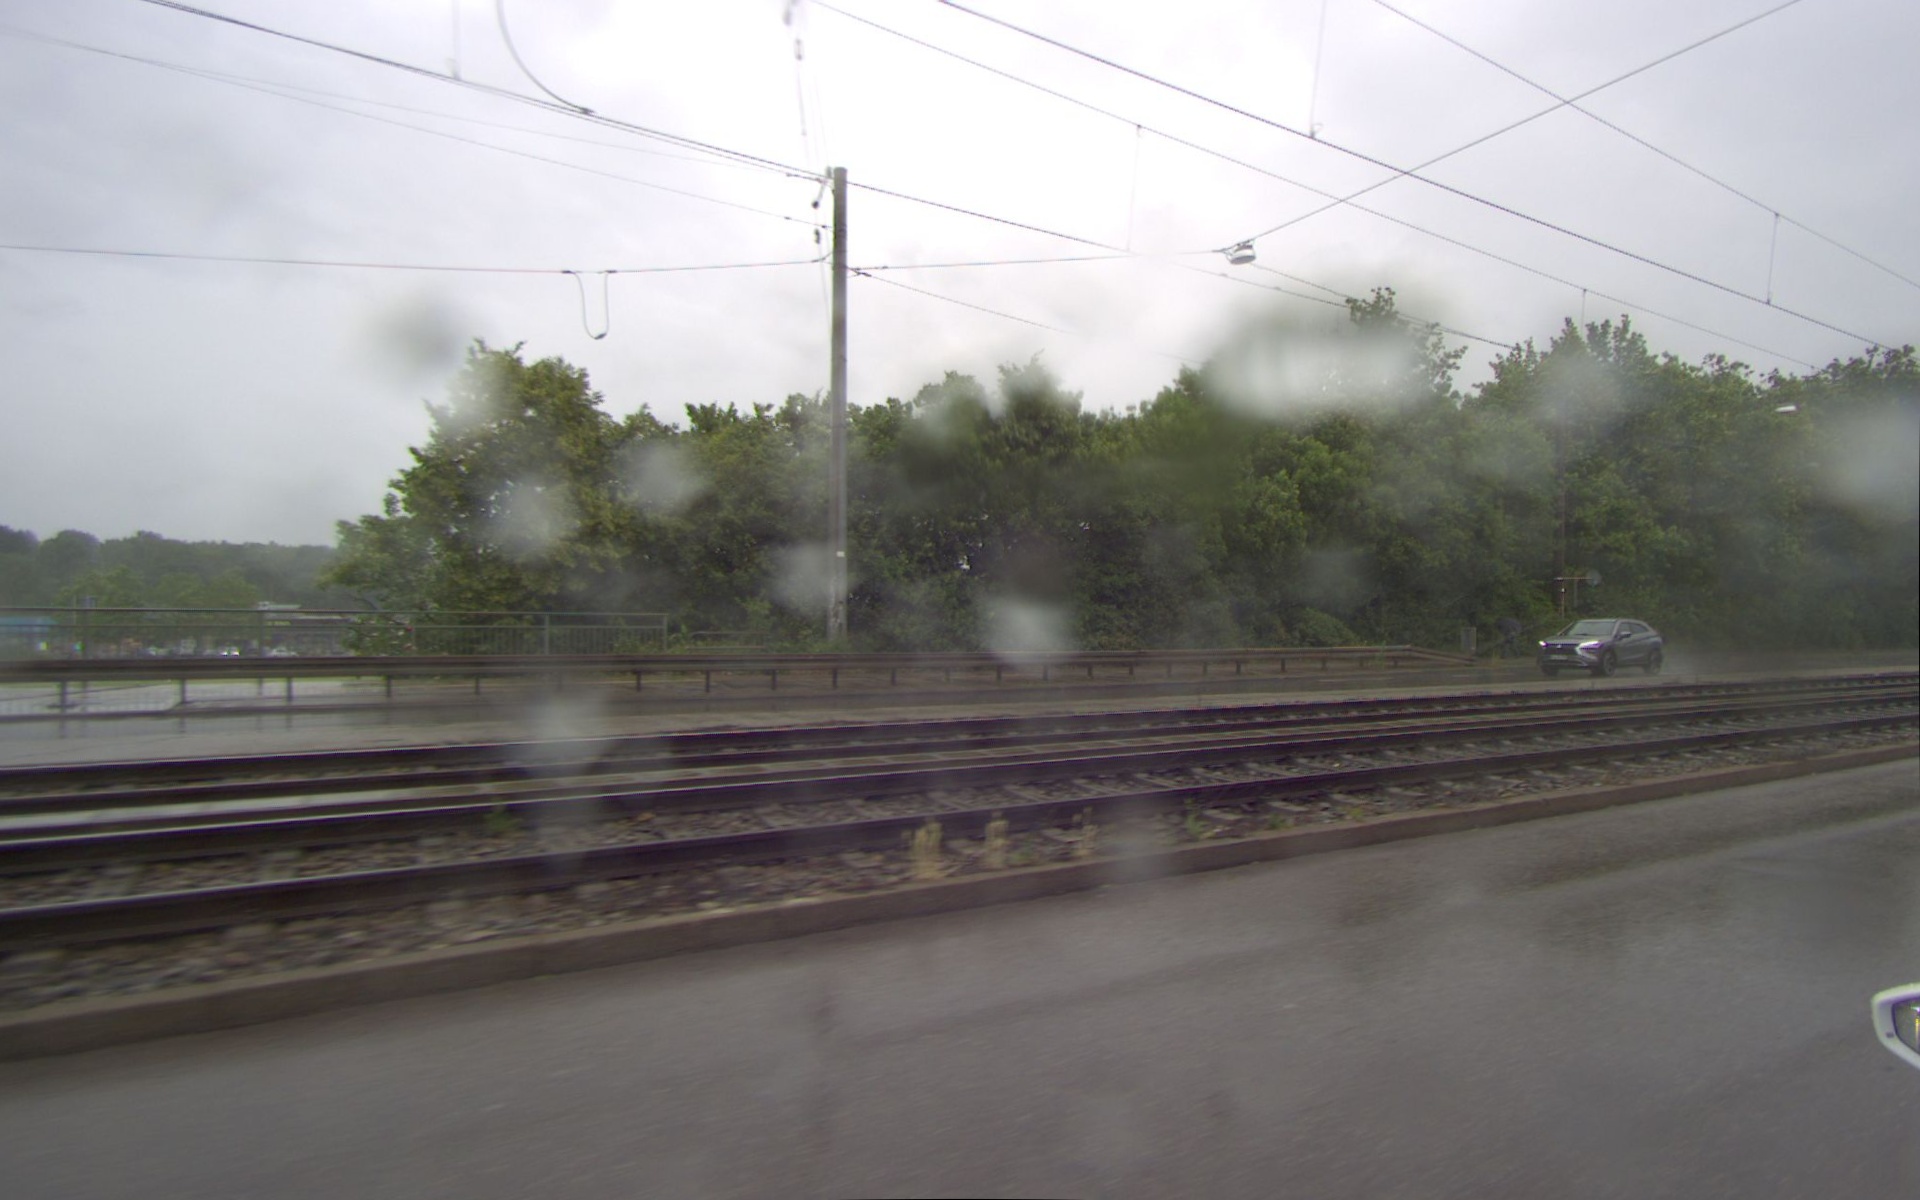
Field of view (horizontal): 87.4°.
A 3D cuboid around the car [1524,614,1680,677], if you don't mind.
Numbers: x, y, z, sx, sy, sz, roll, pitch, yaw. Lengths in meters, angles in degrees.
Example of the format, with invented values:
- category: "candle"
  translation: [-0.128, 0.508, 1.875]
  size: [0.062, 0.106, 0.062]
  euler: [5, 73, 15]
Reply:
- category: "car"
  translation: [18.991, 1.282, 29.655]
  size: [4.817, 1.695, 1.983]
  euler: [0, 0, -31]
